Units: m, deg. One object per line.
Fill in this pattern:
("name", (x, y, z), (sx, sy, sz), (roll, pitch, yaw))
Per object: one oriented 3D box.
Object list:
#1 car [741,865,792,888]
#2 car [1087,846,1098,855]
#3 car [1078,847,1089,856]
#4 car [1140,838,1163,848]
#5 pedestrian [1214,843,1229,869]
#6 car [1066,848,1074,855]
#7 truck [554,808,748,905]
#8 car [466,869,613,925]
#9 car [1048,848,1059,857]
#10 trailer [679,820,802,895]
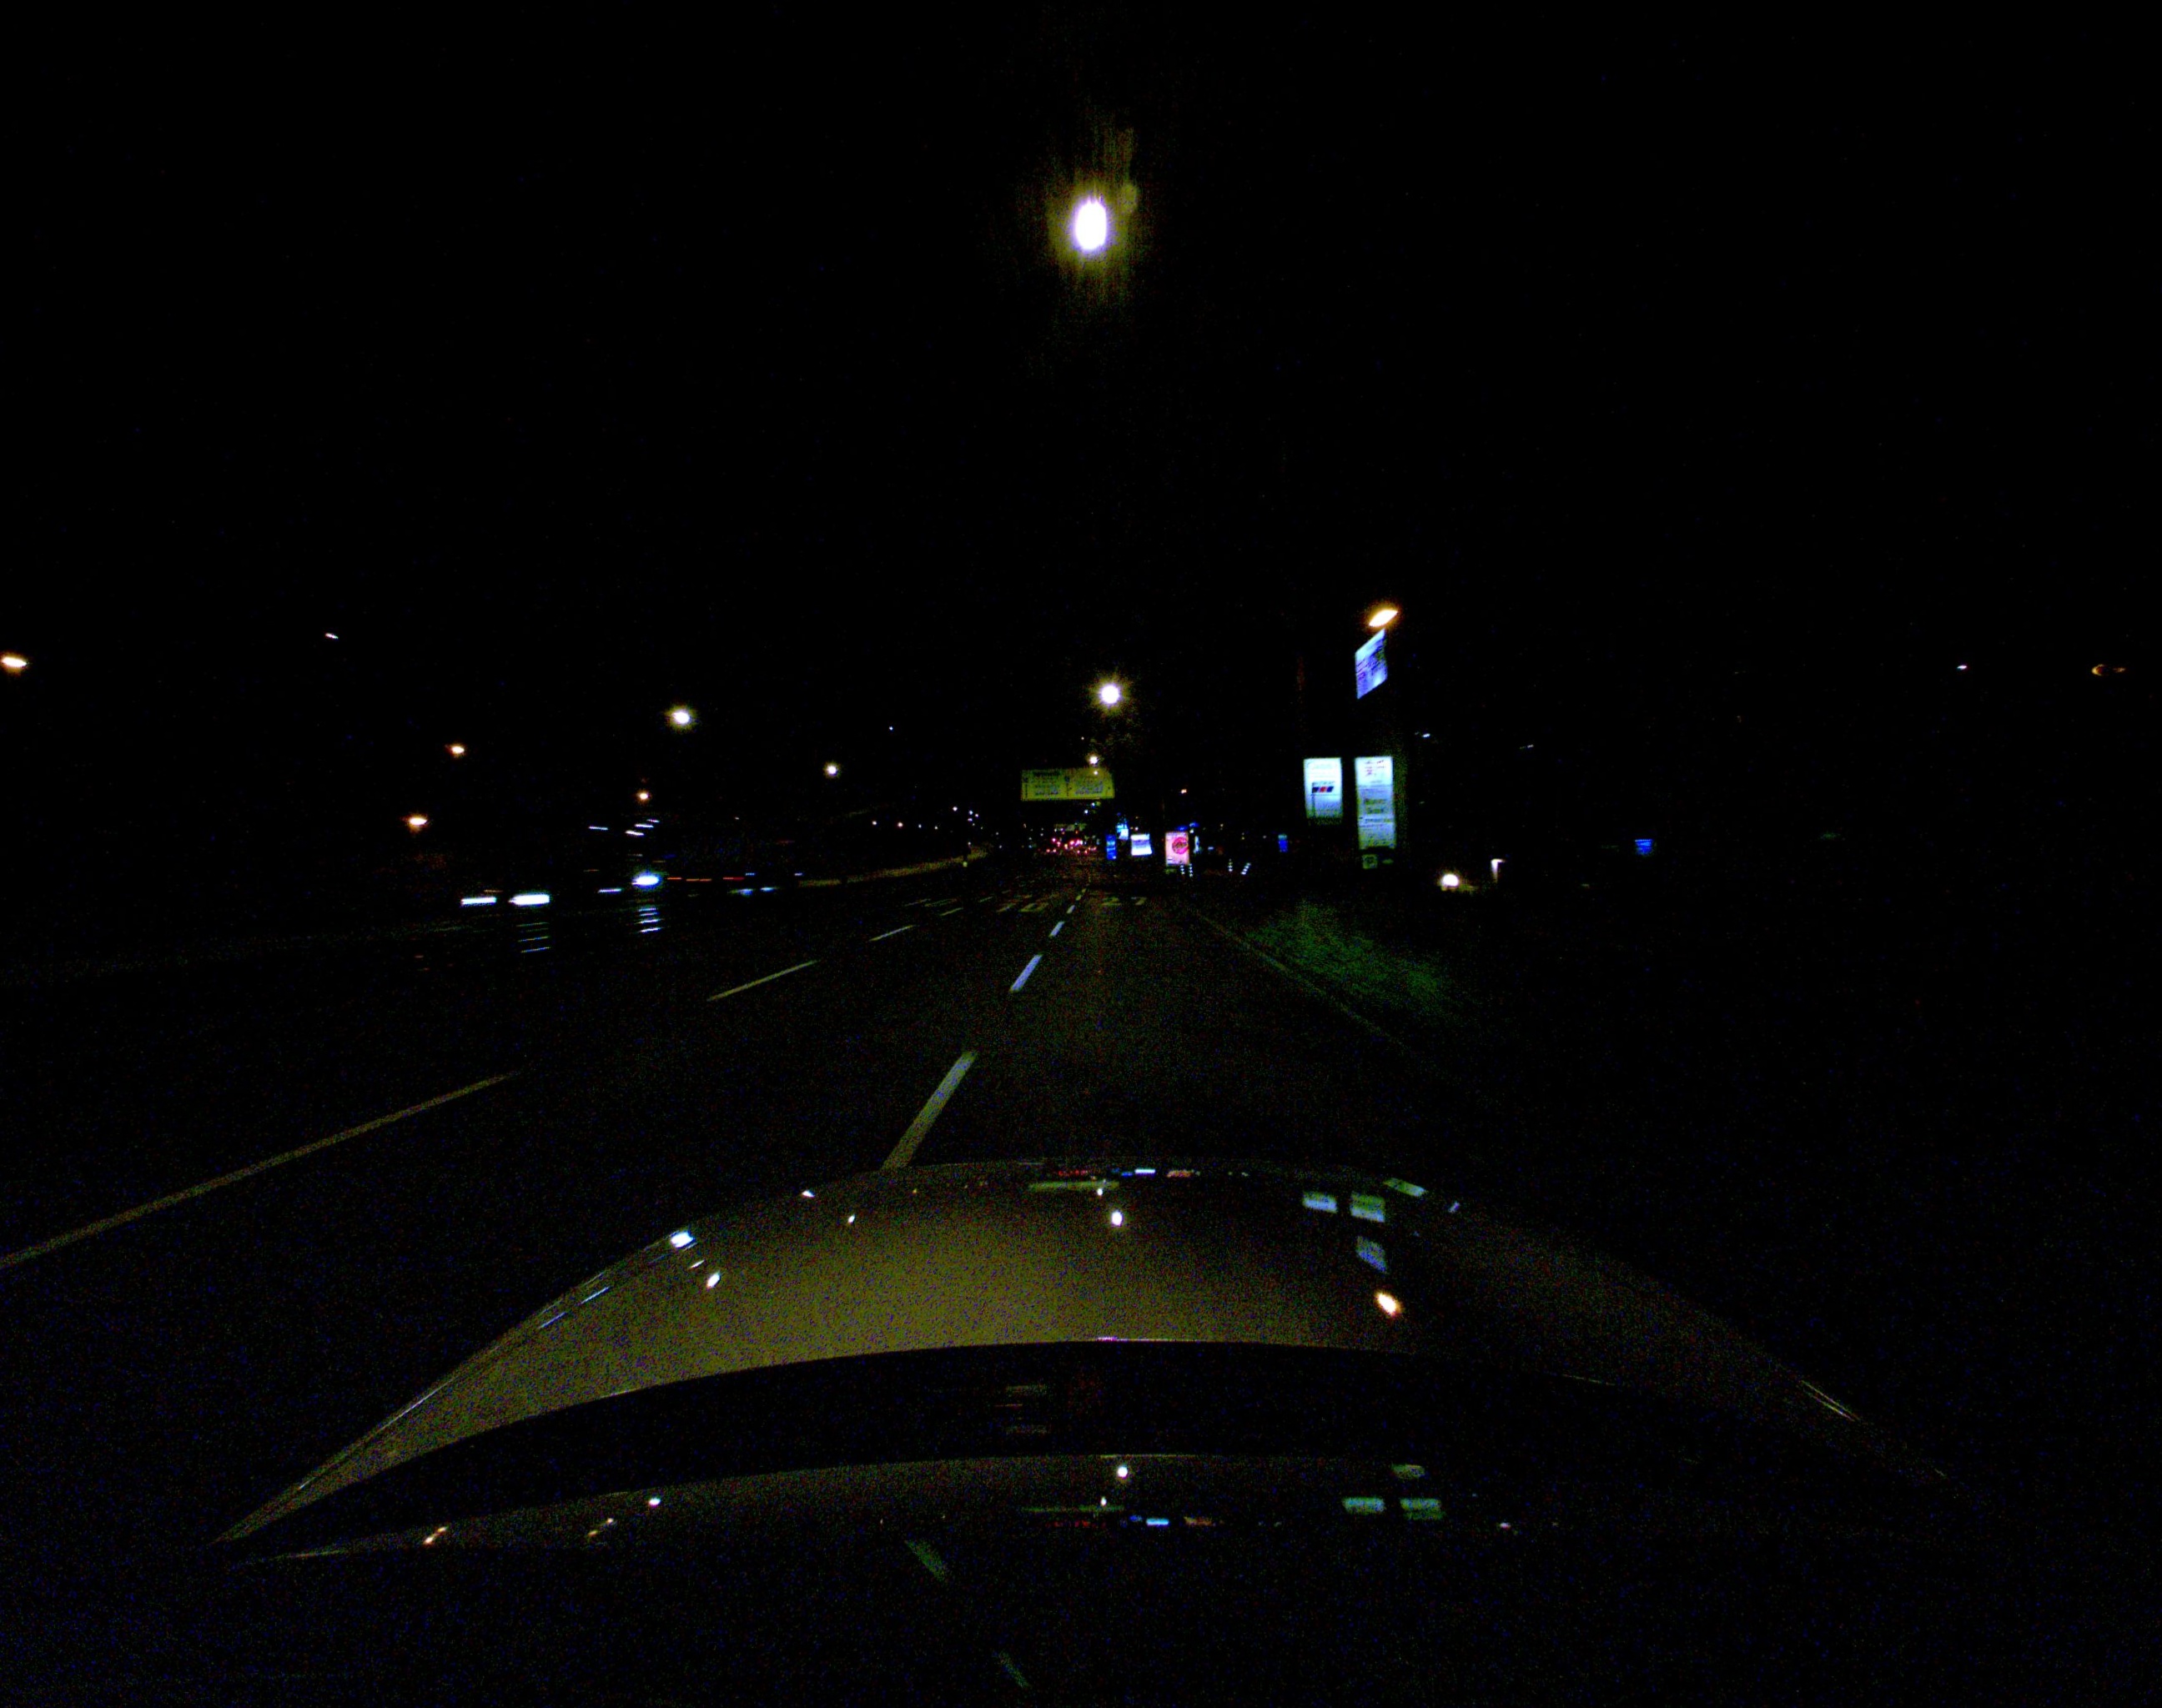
("car", (-22.829, 1.587, 59.283), (1.980, 1.481, 4.203), (-3, 0, 0))
("car", (2.713, -0.824, 194.966), (2.642, 2.014, 5.300), (0, -1, 1))
("car", (0.480, -0.405, 156.110), (1.961, 1.711, 4.001), (0, -1, 1))
("car", (13.383, -2.112, 154.335), (4.106, 1.522, 1.822), (-3, -1, 0))
("pedestrian", (9.389, 0.140, 54.444), (0.850, 1.707, 0.957), (0, -1, 0))
("car", (-2.571, -0.630, 192.834), (1.776, 1.711, 4.001), (0, -1, 1))
("truck", (-19.670, 0.134, 38.450), (3.670, 3.954, 10.417), (0, -1, -1))
("car", (-16.362, 1.251, 24.886), (1.799, 1.499, 4.082), (-1, -1, -1))
("car", (-5.470, -0.330, 161.778), (1.961, 1.711, 4.001), (0, -1, 1))
("trailer", (-19.743, 0.226, 47.987), (3.684, 3.990, 8.393), (0, -1, 0))
